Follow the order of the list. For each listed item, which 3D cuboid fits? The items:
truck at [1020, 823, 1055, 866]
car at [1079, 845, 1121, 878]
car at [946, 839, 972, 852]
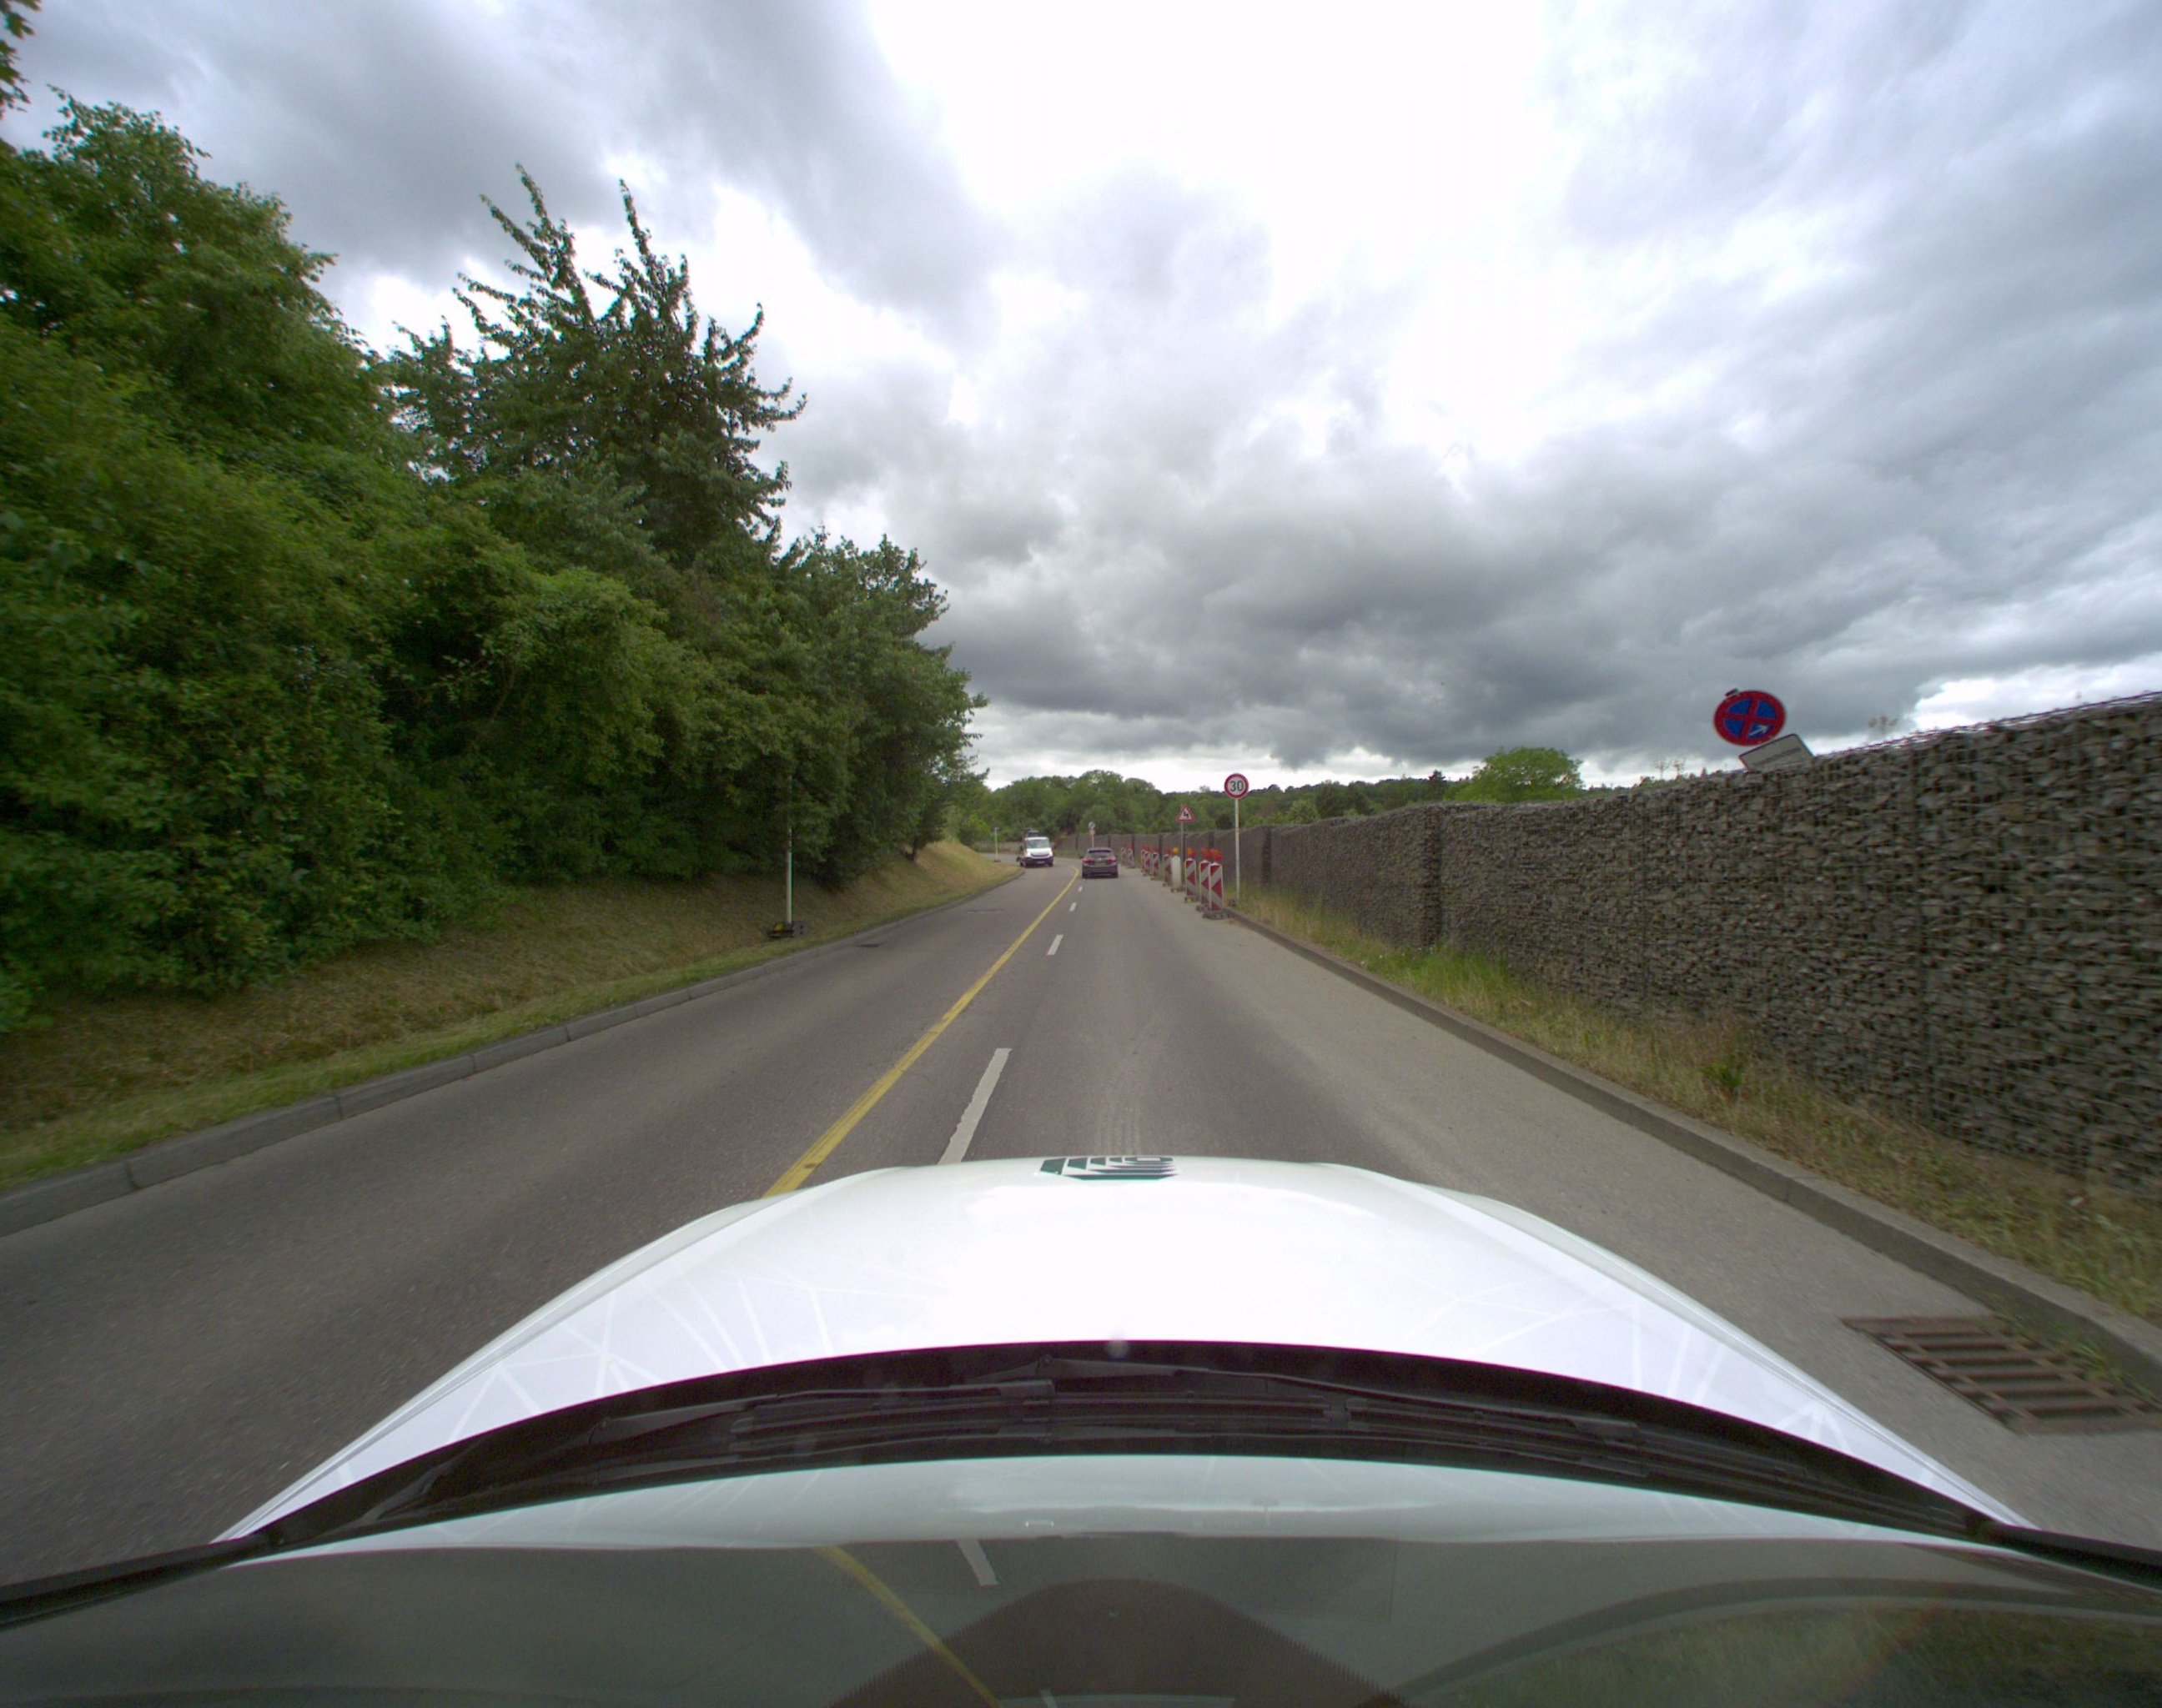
[{"bbox_3d":[-3.366,-0.734,61.704,2.212,3.014,7.724,-2,1,-6],"label":"truck"},{"bbox_3d":[0.907,0.337,41.567,1.835,1.483,3.996,-3,1,-3],"label":"car"},{"bbox_3d":[-14.858,-1.012,98.992,1.790,1.453,3.821,2,-2,-29],"label":"car"}]
